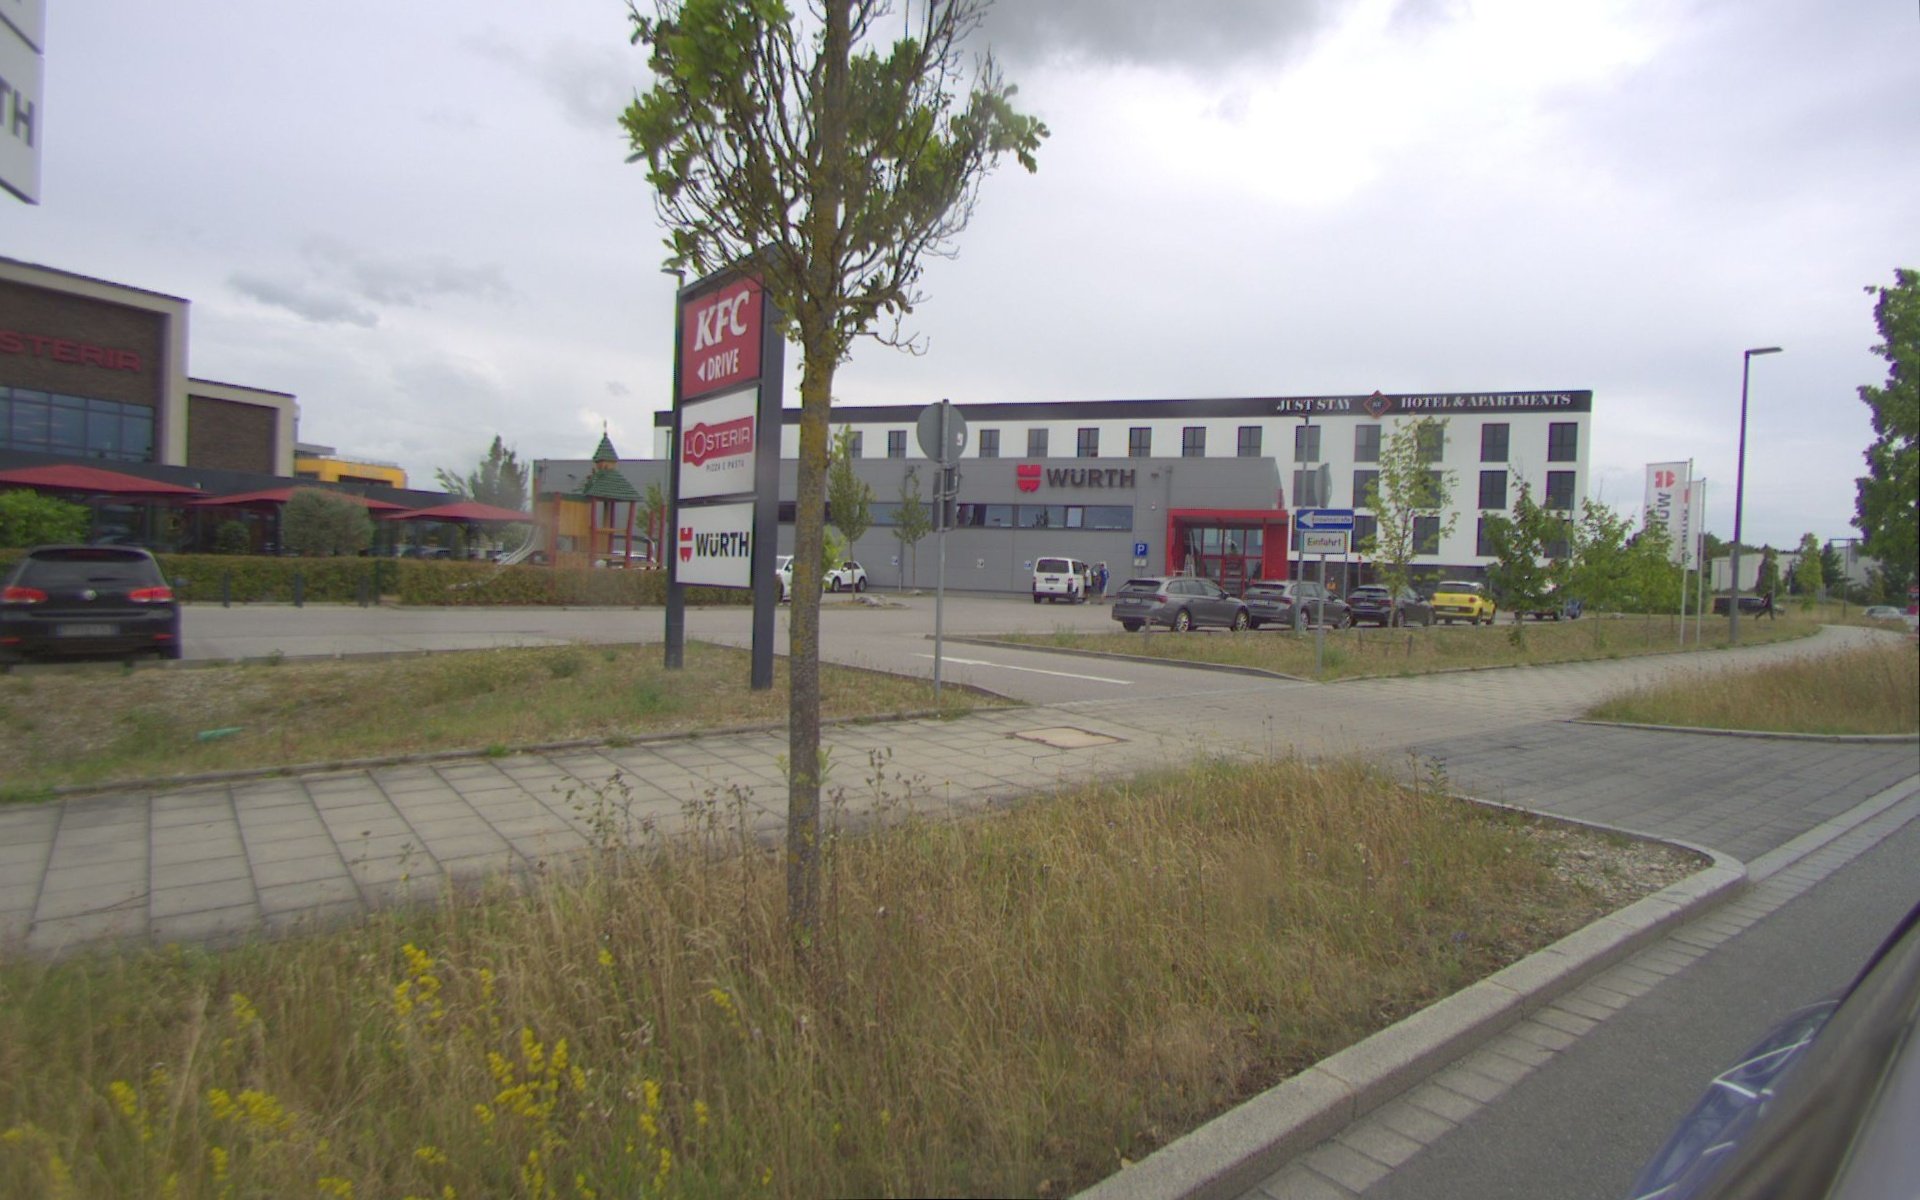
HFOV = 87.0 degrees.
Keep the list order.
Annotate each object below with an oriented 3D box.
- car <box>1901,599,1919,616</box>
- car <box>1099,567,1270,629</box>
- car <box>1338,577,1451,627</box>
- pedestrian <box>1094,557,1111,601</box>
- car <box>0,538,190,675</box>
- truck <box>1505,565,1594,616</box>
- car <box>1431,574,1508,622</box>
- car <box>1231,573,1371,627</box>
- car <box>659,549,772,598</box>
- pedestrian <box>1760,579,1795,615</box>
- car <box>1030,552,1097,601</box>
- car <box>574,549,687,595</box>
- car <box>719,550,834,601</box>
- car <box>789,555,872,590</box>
[{"bbox_3d":[77.429,0.607,81.282,1.773,1.337,3.959,2,1,29],"label":"car"},{"bbox_3d":[5.991,-0.059,26.708,4.747,1.478,1.966,1,2,-41],"label":"car"},{"bbox_3d":[14.831,0.012,34.432,4.533,1.515,1.995,-1,3,-45],"label":"car"},{"bbox_3d":[6.239,-0.917,44.402,0.606,1.892,0.798,2,1,15],"label":"pedestrian"},{"bbox_3d":[-11.259,-0.005,13.165,1.945,1.512,3.999,0,2,-37],"label":"car"},{"bbox_3d":[30.092,-0.462,51.469,2.226,2.354,8.088,3,2,42],"label":"truck"},{"bbox_3d":[19.525,-0.095,38.703,1.760,1.707,4.350,3,2,38],"label":"car"},{"bbox_3d":[10.260,-0.012,30.259,4.797,1.454,1.866,0,2,-43],"label":"car"},{"bbox_3d":[-9.118,-1.001,38.232,2.105,1.699,4.513,2,1,18],"label":"car"},{"bbox_3d":[43.611,-0.174,54.007,1.184,1.880,1.065,2,3,27],"label":"pedestrian"},{"bbox_3d":[4.641,-1.041,44.862,1.974,2.012,4.609,2,1,18],"label":"car"},{"bbox_3d":[-12.940,-1.090,39.987,1.962,1.649,4.296,2,1,22],"label":"car"},{"bbox_3d":[-6.648,-0.882,37.204,1.976,1.718,4.759,2,1,21],"label":"car"},{"bbox_3d":[-6.292,-1.359,49.787,2.057,1.537,4.543,3,2,22],"label":"car"}]
